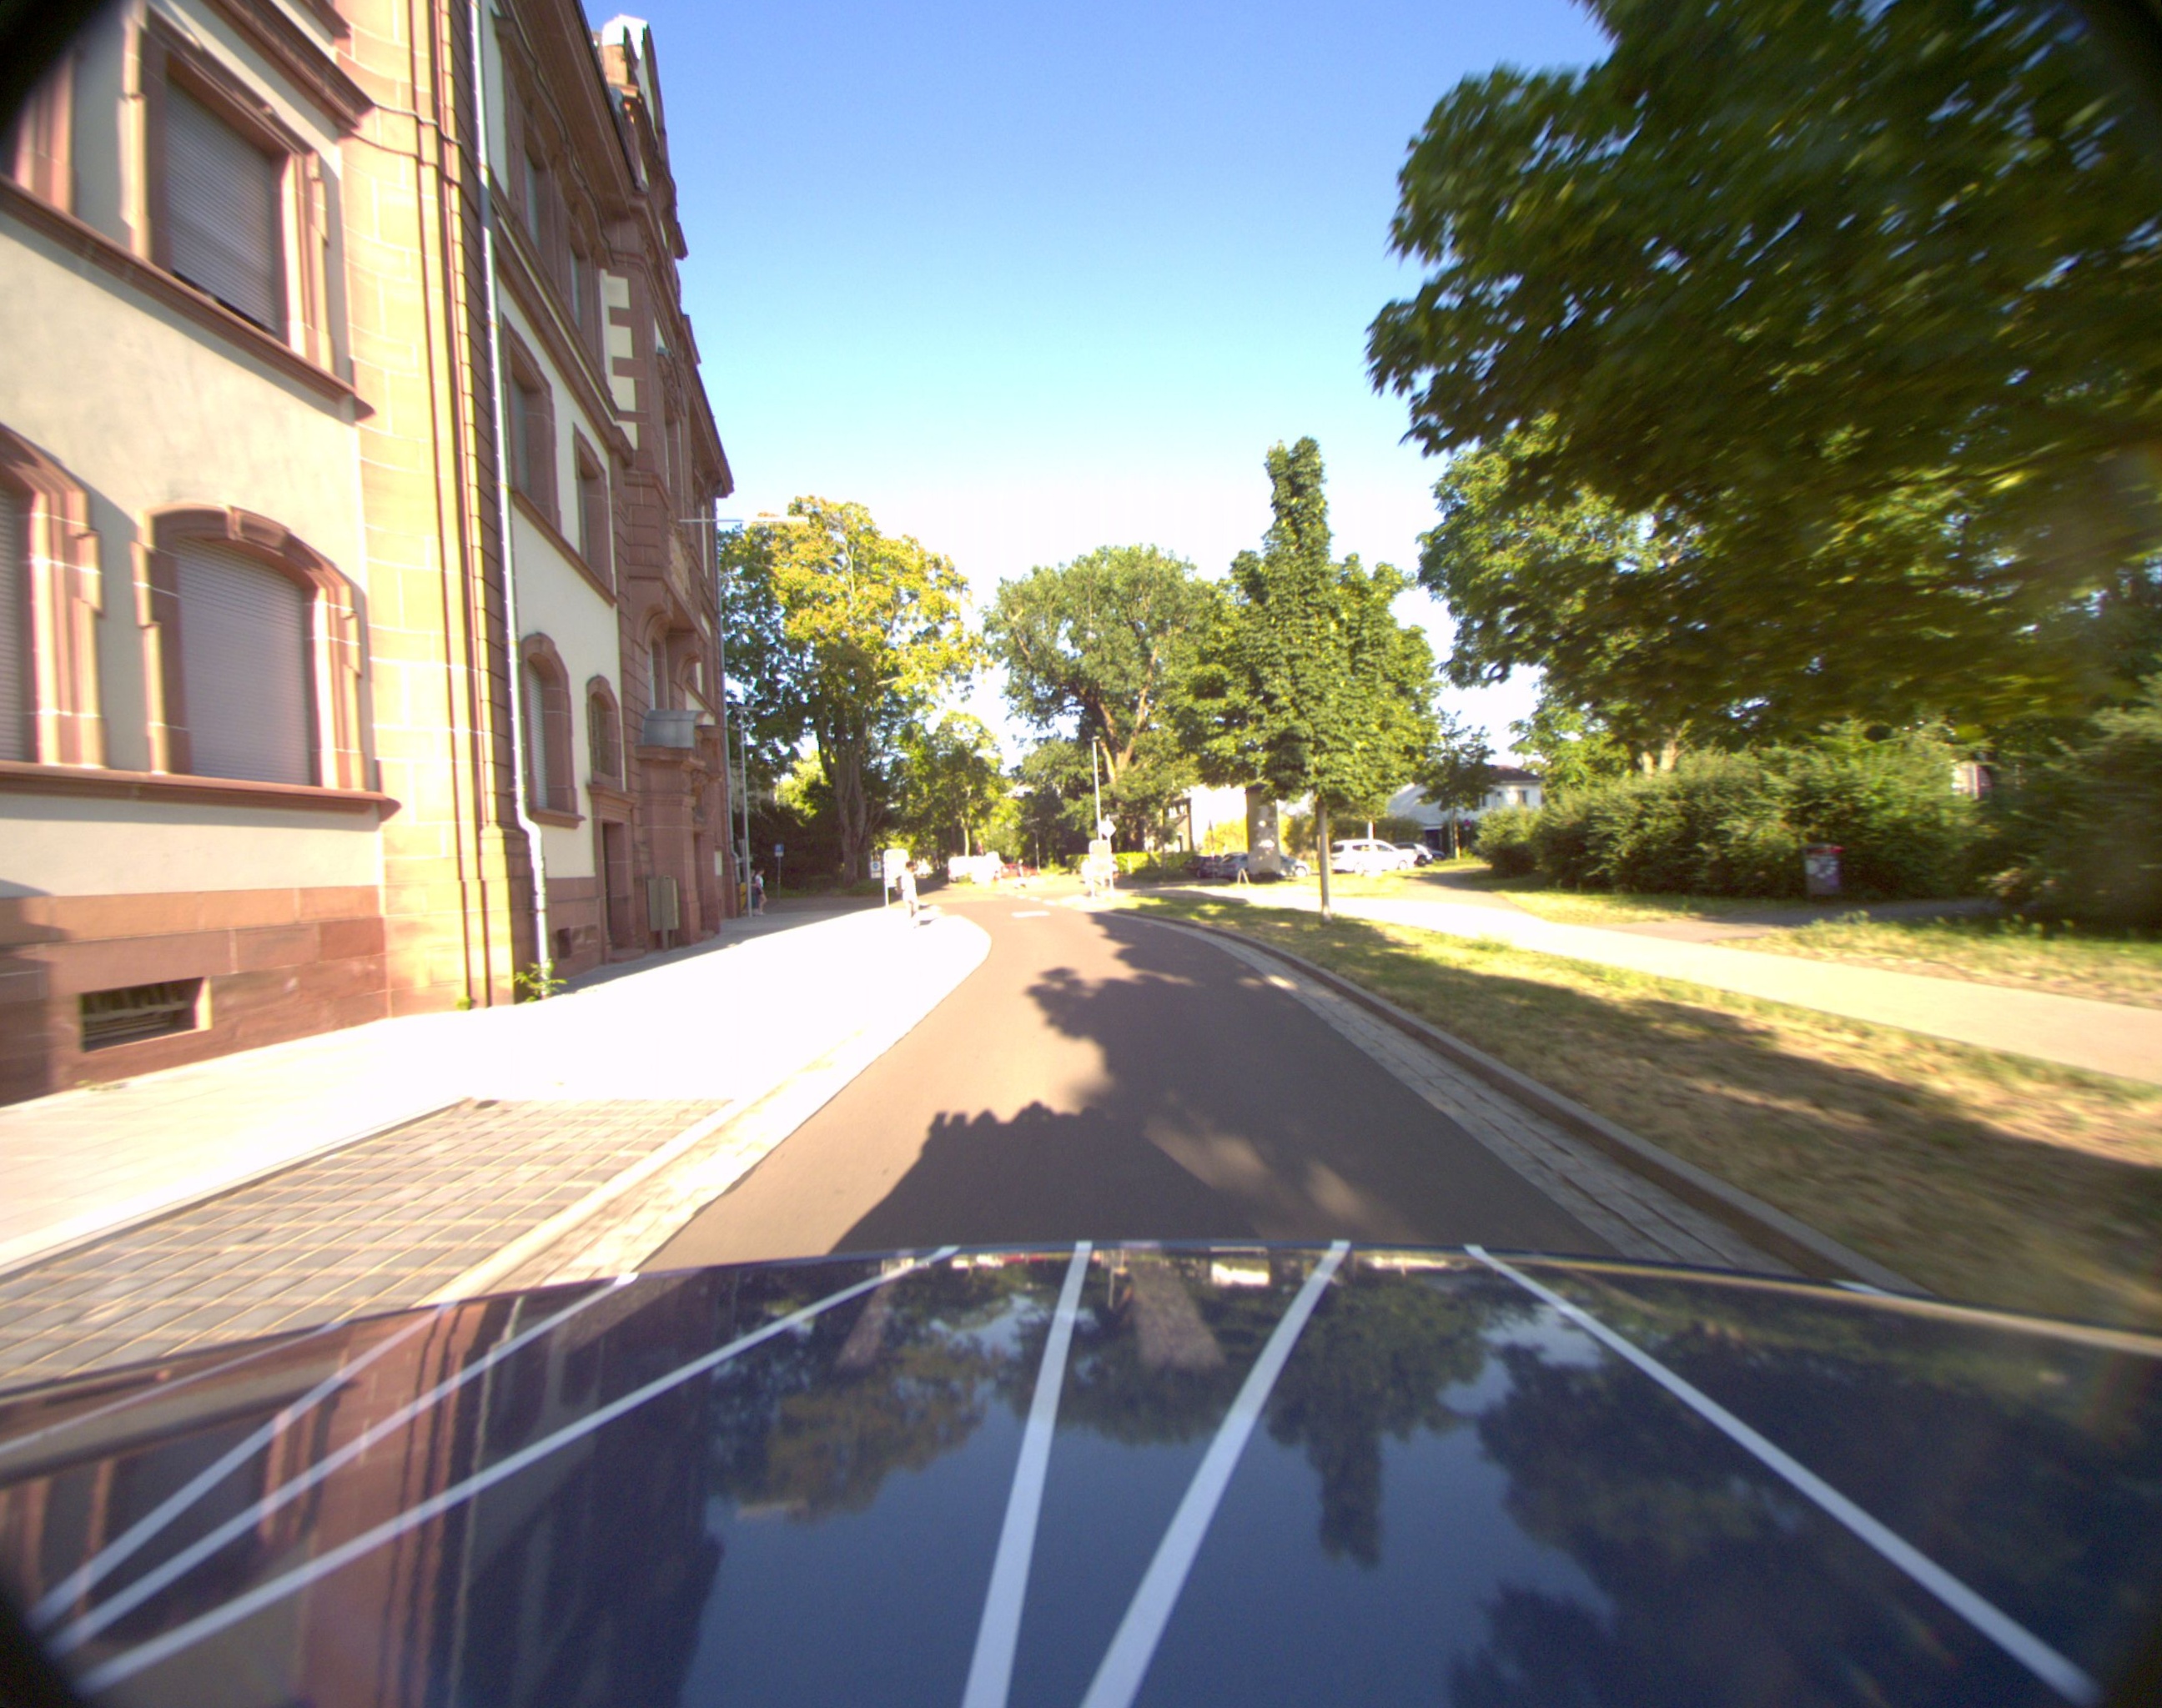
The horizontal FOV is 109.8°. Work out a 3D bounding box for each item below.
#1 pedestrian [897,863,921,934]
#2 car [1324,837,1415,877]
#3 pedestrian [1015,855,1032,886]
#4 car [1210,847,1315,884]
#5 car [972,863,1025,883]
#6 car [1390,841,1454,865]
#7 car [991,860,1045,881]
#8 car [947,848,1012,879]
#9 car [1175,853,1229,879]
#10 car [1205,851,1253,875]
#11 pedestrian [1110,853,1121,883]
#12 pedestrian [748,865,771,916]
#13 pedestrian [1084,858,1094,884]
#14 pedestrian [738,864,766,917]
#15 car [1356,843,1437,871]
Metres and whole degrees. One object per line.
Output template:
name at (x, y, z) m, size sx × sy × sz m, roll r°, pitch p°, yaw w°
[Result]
pedestrian at (-4.312, 1.097, 19.006) m, size 0.534 × 1.709 × 1.001 m, roll -1°, pitch 0°, yaw -15°
car at (15.408, 0.175, 40.641) m, size 4.240 × 1.905 × 1.760 m, roll -3°, pitch 0°, yaw -16°
pedestrian at (-3.602, 1.042, 47.812) m, size 0.615 × 1.908 × 0.721 m, roll -7°, pitch 3°, yaw -39°
car at (9.238, 0.578, 38.683) m, size 4.840 × 1.549 × 1.866 m, roll -3°, pitch 0°, yaw -16°
car at (-6.820, 1.588, 62.828) m, size 4.062 × 1.412 × 1.716 m, roll -3°, pitch 0°, yaw -18°
car at (23.224, -0.082, 51.879) m, size 1.746 × 1.529 × 3.917 m, roll -3°, pitch 1°, yaw -18°
car at (-4.785, 1.248, 57.406) m, size 3.682 × 1.412 × 1.716 m, roll -3°, pitch 0°, yaw -18°
car at (-9.946, 0.943, 74.473) m, size 5.914 × 2.684 × 2.217 m, roll -3°, pitch 0°, yaw -18°
car at (7.583, 0.713, 47.982) m, size 1.646 × 1.507 × 3.994 m, roll -3°, pitch 1°, yaw -17°
car at (9.691, 0.569, 50.075) m, size 1.639 × 1.483 × 3.350 m, roll -3°, pitch 1°, yaw -18°
pedestrian at (2.121, 0.856, 46.318) m, size 0.436 × 1.764 × 0.665 m, roll -3°, pitch 0°, yaw -11°
pedestrian at (-11.809, 1.332, 27.907) m, size 0.613 × 1.828 × 0.726 m, roll -3°, pitch -2°, yaw -14°
pedestrian at (0.477, 1.062, 46.786) m, size 0.436 × 1.571 × 0.665 m, roll -3°, pitch 0°, yaw -11°
pedestrian at (-11.786, 1.306, 27.220) m, size 0.717 × 1.829 × 0.789 m, roll -3°, pitch -1°, yaw -14°
car at (19.467, 0.192, 46.950) m, size 4.347 × 1.525 × 1.782 m, roll -3°, pitch -1°, yaw -13°
